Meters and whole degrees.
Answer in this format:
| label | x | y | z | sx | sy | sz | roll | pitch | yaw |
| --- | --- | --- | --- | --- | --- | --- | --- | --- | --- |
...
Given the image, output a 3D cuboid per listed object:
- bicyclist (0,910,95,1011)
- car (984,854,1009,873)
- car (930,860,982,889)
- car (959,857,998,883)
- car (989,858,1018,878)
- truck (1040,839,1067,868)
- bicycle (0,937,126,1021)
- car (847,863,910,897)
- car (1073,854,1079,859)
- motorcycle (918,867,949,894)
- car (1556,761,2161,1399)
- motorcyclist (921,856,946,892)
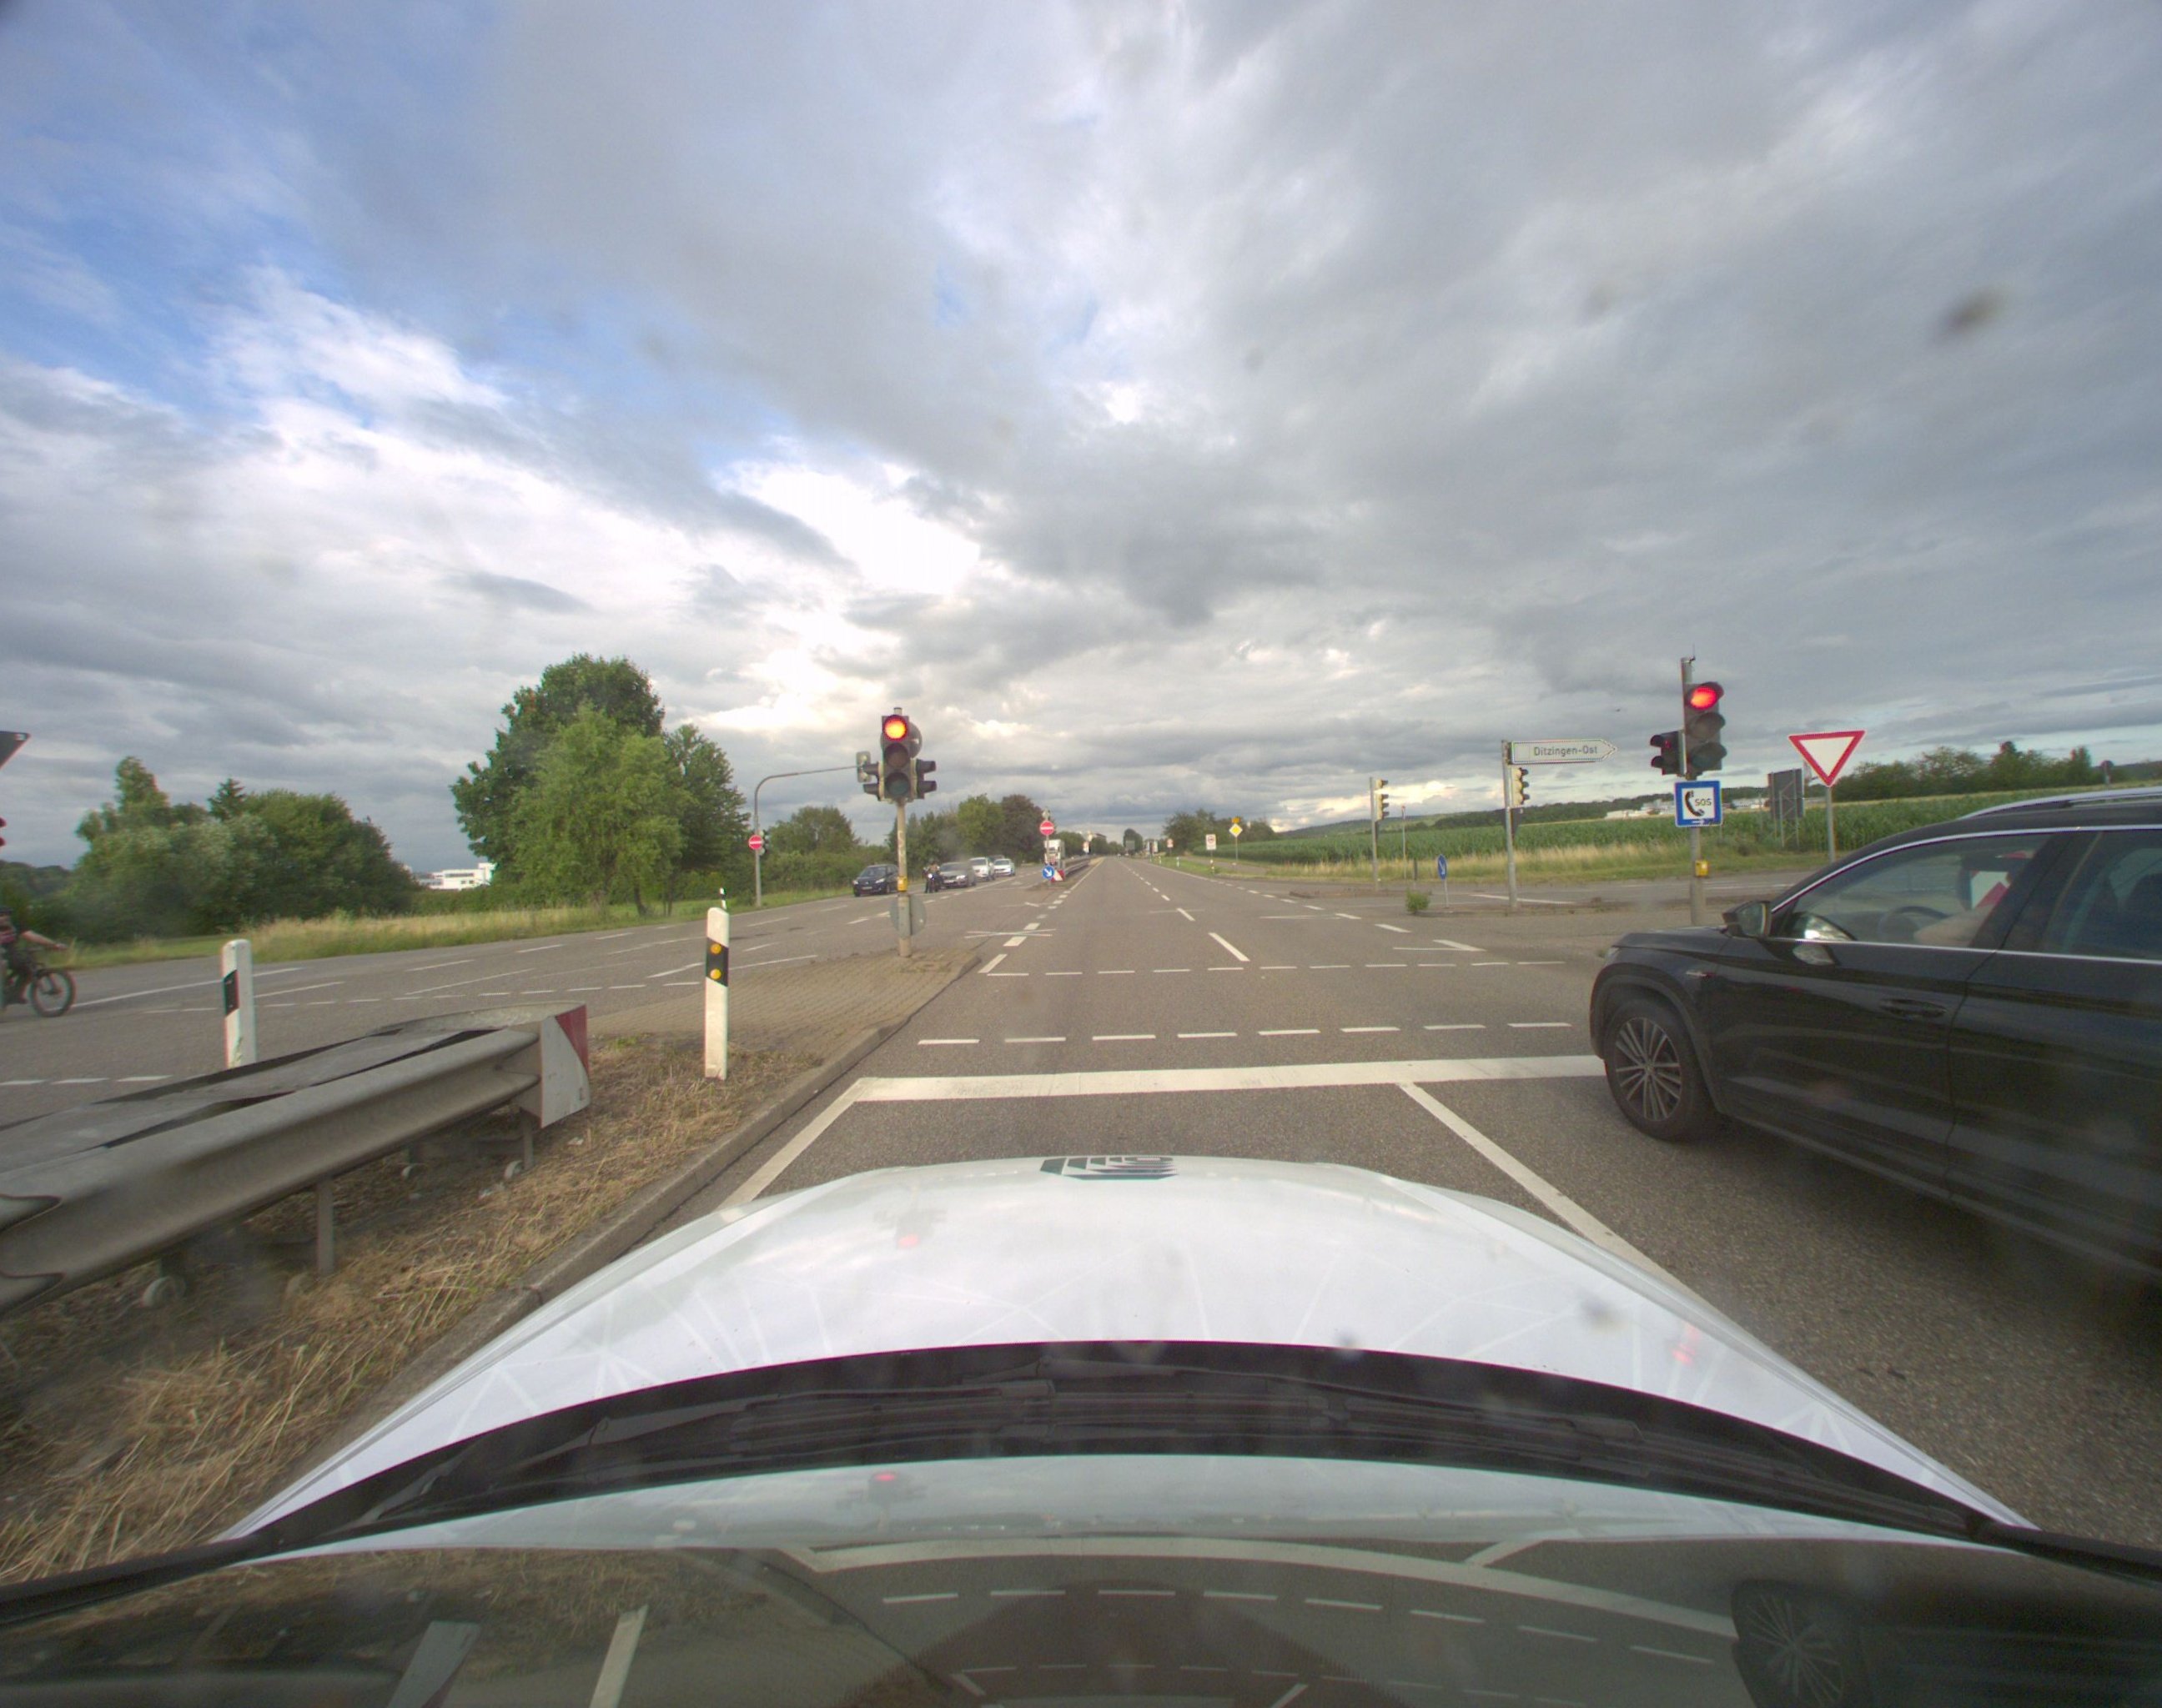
| label | x | y | z | sx | sy | sz | roll | pitch | yaw |
| --- | --- | --- | --- | --- | --- | --- | --- | --- | --- |
| bicyclist | -16.506 | 1.657 | 12.730 | 1.216 | 1.451 | 0.817 | -3 | 0 | 7 |
| car | -9.769 | 1.143 | 94.645 | 1.986 | 2.013 | 4.950 | -4 | -1 | 2 |
| car | -7.017 | 1.112 | 46.239 | 1.900 | 1.428 | 5.154 | -3 | 0 | 2 |
| car | -6.902 | 1.046 | 55.395 | 1.900 | 1.610 | 4.407 | -3 | 0 | 2 |
| car | -6.399 | 1.130 | 67.341 | 1.782 | 1.444 | 4.162 | -3 | 0 | 2 |
| truck | -4.253 | -0.040 | 126.274 | 3.461 | 4.150 | 6.052 | -4 | 0 | 2 |
| bicycle | -16.460 | 1.953 | 12.725 | 2.307 | 1.137 | 0.817 | -3 | 0 | 7 |
| car | -10.808 | 1.354 | 43.867 | 1.900 | 1.535 | 4.940 | -3 | 0 | 2 |
| car | -1.481 | 0.833 | 241.808 | 1.782 | 1.386 | 4.162 | -3 | 0 | 2 |
| motorcycle | -7.348 | 1.315 | 40.689 | 0.913 | 1.203 | 2.480 | -4 | -1 | 2 |
| car | 3.722 | 0.579 | 2.637 | 1.838 | 1.650 | 4.482 | 0 | 0 | 1 |
| motorcyclist | -7.357 | 0.998 | 40.690 | 0.913 | 1.708 | 1.276 | -3 | -1 | 2 |
